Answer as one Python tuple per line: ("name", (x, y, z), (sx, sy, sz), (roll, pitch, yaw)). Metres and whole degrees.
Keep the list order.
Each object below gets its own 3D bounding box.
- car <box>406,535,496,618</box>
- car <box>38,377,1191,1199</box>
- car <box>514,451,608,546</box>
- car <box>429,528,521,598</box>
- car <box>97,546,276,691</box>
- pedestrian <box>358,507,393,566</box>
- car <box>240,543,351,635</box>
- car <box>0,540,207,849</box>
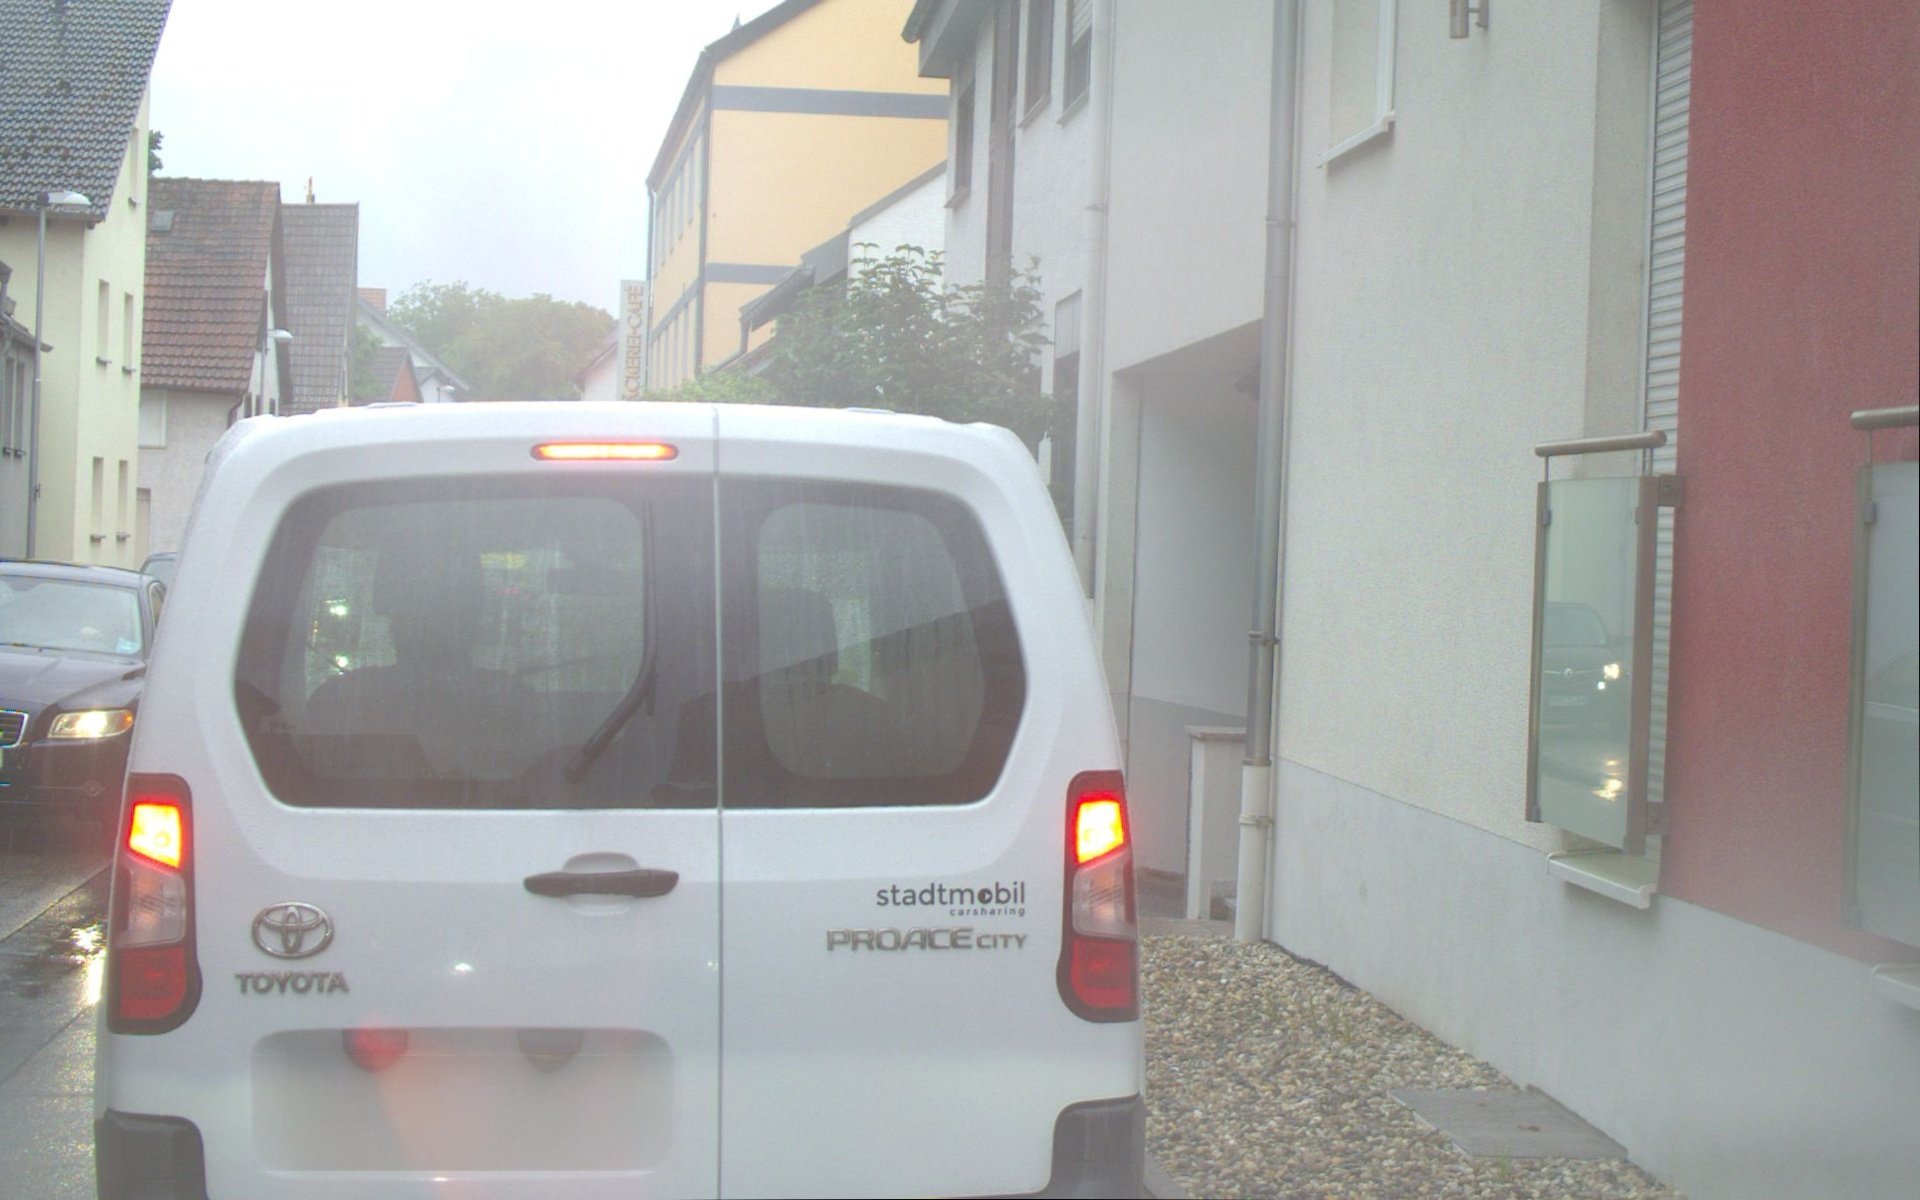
("car", (-9.532, -0.448, 64.213), (1.560, 1.472, 4.001), (1, 1, -10))
("car", (-0.831, 0.536, 7.339), (1.774, 1.774, 4.001), (1, 1, -9))
("car", (-8.831, -2.217, 76.376), (1.993, 2.007, 4.001), (1, 1, -6))
("car", (-10.151, -0.769, 71.786), (1.779, 1.390, 4.001), (1, 1, -10))
("car", (-8.700, 0.173, 38.891), (1.604, 1.508, 3.689), (2, 1, -8))
("pedestrian", (-18.719, -2.024, 110.073), (1.050, 1.886, 0.877), (1, 0, -9))
("car", (-12.056, -0.228, 62.554), (1.832, 1.550, 4.241), (2, 0, -10))
("car", (-5.266, 0.426, 18.980), (1.695, 1.504, 4.342), (2, 0, -7))
